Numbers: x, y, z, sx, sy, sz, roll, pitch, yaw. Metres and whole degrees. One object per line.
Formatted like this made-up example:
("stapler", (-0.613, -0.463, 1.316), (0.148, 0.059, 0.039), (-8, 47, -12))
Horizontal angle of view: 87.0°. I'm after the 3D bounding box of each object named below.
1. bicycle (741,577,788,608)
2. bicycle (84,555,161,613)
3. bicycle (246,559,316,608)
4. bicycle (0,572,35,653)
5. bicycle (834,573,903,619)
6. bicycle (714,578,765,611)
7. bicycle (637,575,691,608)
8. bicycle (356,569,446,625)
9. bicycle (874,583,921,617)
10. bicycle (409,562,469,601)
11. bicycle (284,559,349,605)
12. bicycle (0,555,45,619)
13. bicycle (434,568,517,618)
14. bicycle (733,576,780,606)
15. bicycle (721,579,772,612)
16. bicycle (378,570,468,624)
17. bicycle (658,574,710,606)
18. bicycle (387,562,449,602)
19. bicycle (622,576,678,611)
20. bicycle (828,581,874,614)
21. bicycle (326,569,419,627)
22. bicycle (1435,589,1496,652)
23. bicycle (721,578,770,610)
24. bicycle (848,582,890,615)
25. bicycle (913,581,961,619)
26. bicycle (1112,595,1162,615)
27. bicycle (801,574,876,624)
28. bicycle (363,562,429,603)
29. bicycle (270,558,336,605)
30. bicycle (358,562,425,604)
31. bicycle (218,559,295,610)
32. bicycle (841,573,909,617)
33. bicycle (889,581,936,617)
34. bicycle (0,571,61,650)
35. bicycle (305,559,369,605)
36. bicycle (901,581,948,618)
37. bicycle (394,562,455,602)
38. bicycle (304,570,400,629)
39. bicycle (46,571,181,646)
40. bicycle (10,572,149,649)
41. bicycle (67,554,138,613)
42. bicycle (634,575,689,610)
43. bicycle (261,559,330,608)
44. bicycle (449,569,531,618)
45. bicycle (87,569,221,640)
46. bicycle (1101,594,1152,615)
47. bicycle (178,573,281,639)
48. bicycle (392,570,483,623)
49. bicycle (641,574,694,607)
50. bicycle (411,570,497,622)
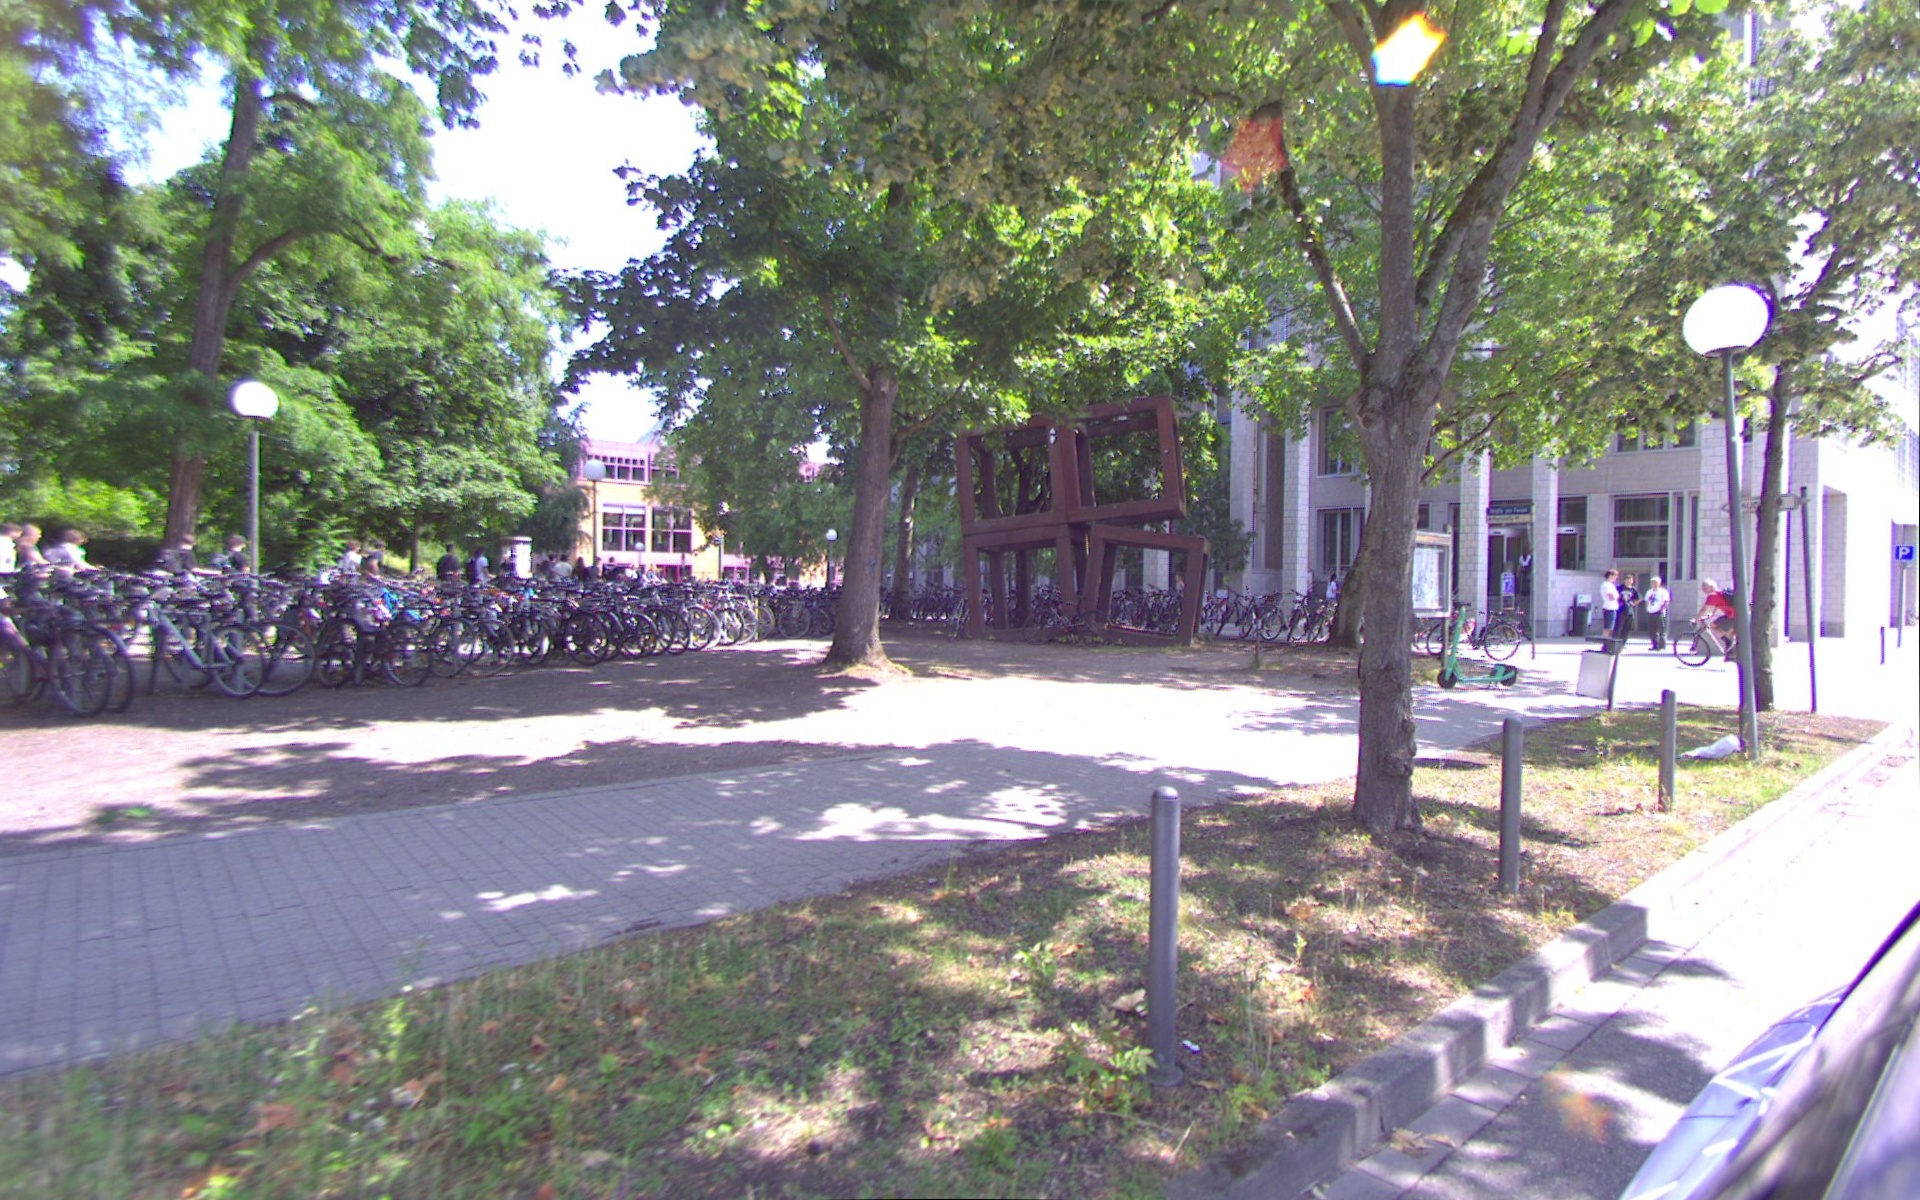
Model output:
("bicycle", (-7.090, -0.263, 36.666), (1.653, 1.098, 0.479), (0, -2, -9))
("bicycle", (-16.772, -0.335, 20.266), (1.591, 1.107, 0.475), (2, 2, 21))
("bicycle", (-15.924, -0.391, 23.734), (1.586, 1.107, 0.347), (2, 2, 12))
("bicycle", (-12.831, 0.135, 12.927), (1.873, 0.991, 0.477), (2, 2, 11))
("bicycle", (-2.475, -0.114, 27.472), (1.816, 1.185, 0.412), (1, 1, 11))
("bicycle", (-7.497, -0.180, 34.475), (1.653, 1.098, 0.479), (0, -2, -9))
("bicycle", (-9.868, -0.287, 33.805), (1.655, 1.098, 0.479), (0, -2, -2))
("bicycle", (-10.746, -0.074, 19.444), (1.880, 0.991, 0.376), (2, 2, 20))
("bicycle", (-2.064, 0.015, 33.659), (0.477, 1.098, 1.661), (-2, -2, 44))
("bicycle", (-15.342, -0.553, 29.794), (1.581, 1.107, 0.348), (1, 1, 1))
("bicycle", (-16.002, -0.455, 25.165), (1.586, 1.107, 0.347), (2, 2, 12))
("bicycle", (-17.188, -0.255, 18.156), (1.591, 1.107, 0.475), (2, 2, 21))
("bicycle", (-10.328, -0.156, 21.549), (1.880, 0.991, 0.376), (2, 2, 20))
("bicycle", (-7.516, -0.325, 37.421), (1.653, 1.098, 0.479), (1, -2, -23))
("bicycle", (-7.178, -0.140, 34.032), (1.653, 1.098, 0.479), (0, -2, -9))
("bicycle", (-10.509, -0.074, 19.791), (1.880, 0.991, 0.376), (2, 2, 20))
("bicycle", (-9.584, -0.337, 35.172), (1.655, 1.098, 0.479), (0, -2, -2))
("bicycle", (-15.439, -0.512, 28.829), (1.581, 1.107, 0.348), (1, 1, 1))
("bicycle", (-9.801, -0.200, 32.027), (1.653, 1.098, 0.479), (0, -2, -8))
("bicycle", (-3.777, -0.082, 35.190), (0.477, 1.098, 1.661), (-2, -2, 44))
("bicycle", (-10.878, -0.044, 18.725), (1.880, 0.991, 0.376), (2, 2, 20))
("bicycle", (9.761, 0.373, 19.524), (1.465, 1.155, 0.560), (-1, 3, -44))
("bicycle", (-7.480, -0.221, 35.322), (1.653, 1.098, 0.479), (0, -2, -9))
("bicycle", (-3.105, -0.032, 34.704), (0.475, 1.098, 1.666), (-1, -2, 35))
("bicycle", (-0.727, 0.010, 31.828), (0.477, 1.144, 1.661), (-2, -2, 44))
("bicycle", (7.384, 0.200, 42.273), (1.981, 0.769, 0.634), (3, 1, 40))
("bicycle", (-3.027, -0.031, 25.223), (1.816, 1.185, 0.412), (1, 1, 11))
("bicycle", (-15.612, -0.483, 28.043), (1.578, 1.107, 0.348), (1, 1, -7))
("bicycle", (-16.106, -0.453, 24.807), (1.586, 1.107, 0.347), (2, 2, 12))
("bicycle", (-15.555, -0.463, 27.695), (1.578, 1.107, 0.348), (1, 1, -7))
("bicycle", (-15.944, -0.354, 22.937), (1.586, 1.107, 0.477), (2, 2, 12))
("bicycle", (-2.360, -0.143, 28.181), (1.816, 1.185, 0.412), (1, 1, 11))
("bicycle", (-1.515, -0.020, 32.736), (0.477, 1.144, 1.661), (-2, -2, 44))
("bicycle", (-12.862, 0.119, 13.394), (1.873, 0.991, 0.377), (2, 2, 11))
("bicycle", (-15.769, -0.463, 25.600), (1.586, 1.107, 0.335), (2, 2, 12))
("bicycle", (-1.128, -0.012, 32.254), (0.477, 1.144, 1.661), (-2, -2, 44))
("bicycle", (-15.440, -0.529, 29.176), (1.581, 1.107, 0.348), (1, 1, 1))
("bicycle", (-11.023, -0.026, 18.338), (1.880, 0.991, 0.376), (2, 2, 20))
("bicycle", (-12.070, 0.112, 14.425), (1.873, 0.991, 0.377), (2, 2, 11))
("bicycle", (-12.207, 0.136, 14.032), (1.873, 0.991, 0.377), (2, 2, 11))
("bicycle", (-16.889, -0.327, 19.931), (1.591, 1.107, 0.346), (2, 2, 21))
("bicycle", (-9.674, -0.233, 32.861), (1.653, 1.098, 0.479), (0, -2, -8))
("bicycle", (-15.829, -0.403, 24.106), (1.586, 1.107, 0.347), (2, 2, 12))
("bicycle", (-10.193, -0.158, 21.947), (1.880, 0.991, 0.376), (2, 2, 20))
("bicycle", (-12.103, 0.056, 15.194), (1.873, 0.991, 0.477), (2, 2, 11))
("bicycle", (6.867, 0.193, 41.789), (1.981, 0.769, 0.634), (3, 1, 40))
("bicycle", (-11.890, 0.078, 16.461), (1.880, 0.991, 0.376), (2, 2, 20))
("bicycle", (-10.527, -0.089, 20.383), (1.880, 0.991, 0.475), (2, 2, 20))
("bicycle", (-9.895, -0.313, 34.300), (1.655, 1.098, 0.479), (0, -2, -2))
("bicycle", (-10.390, -0.085, 20.774), (1.880, 0.991, 0.376), (2, 2, 20))
